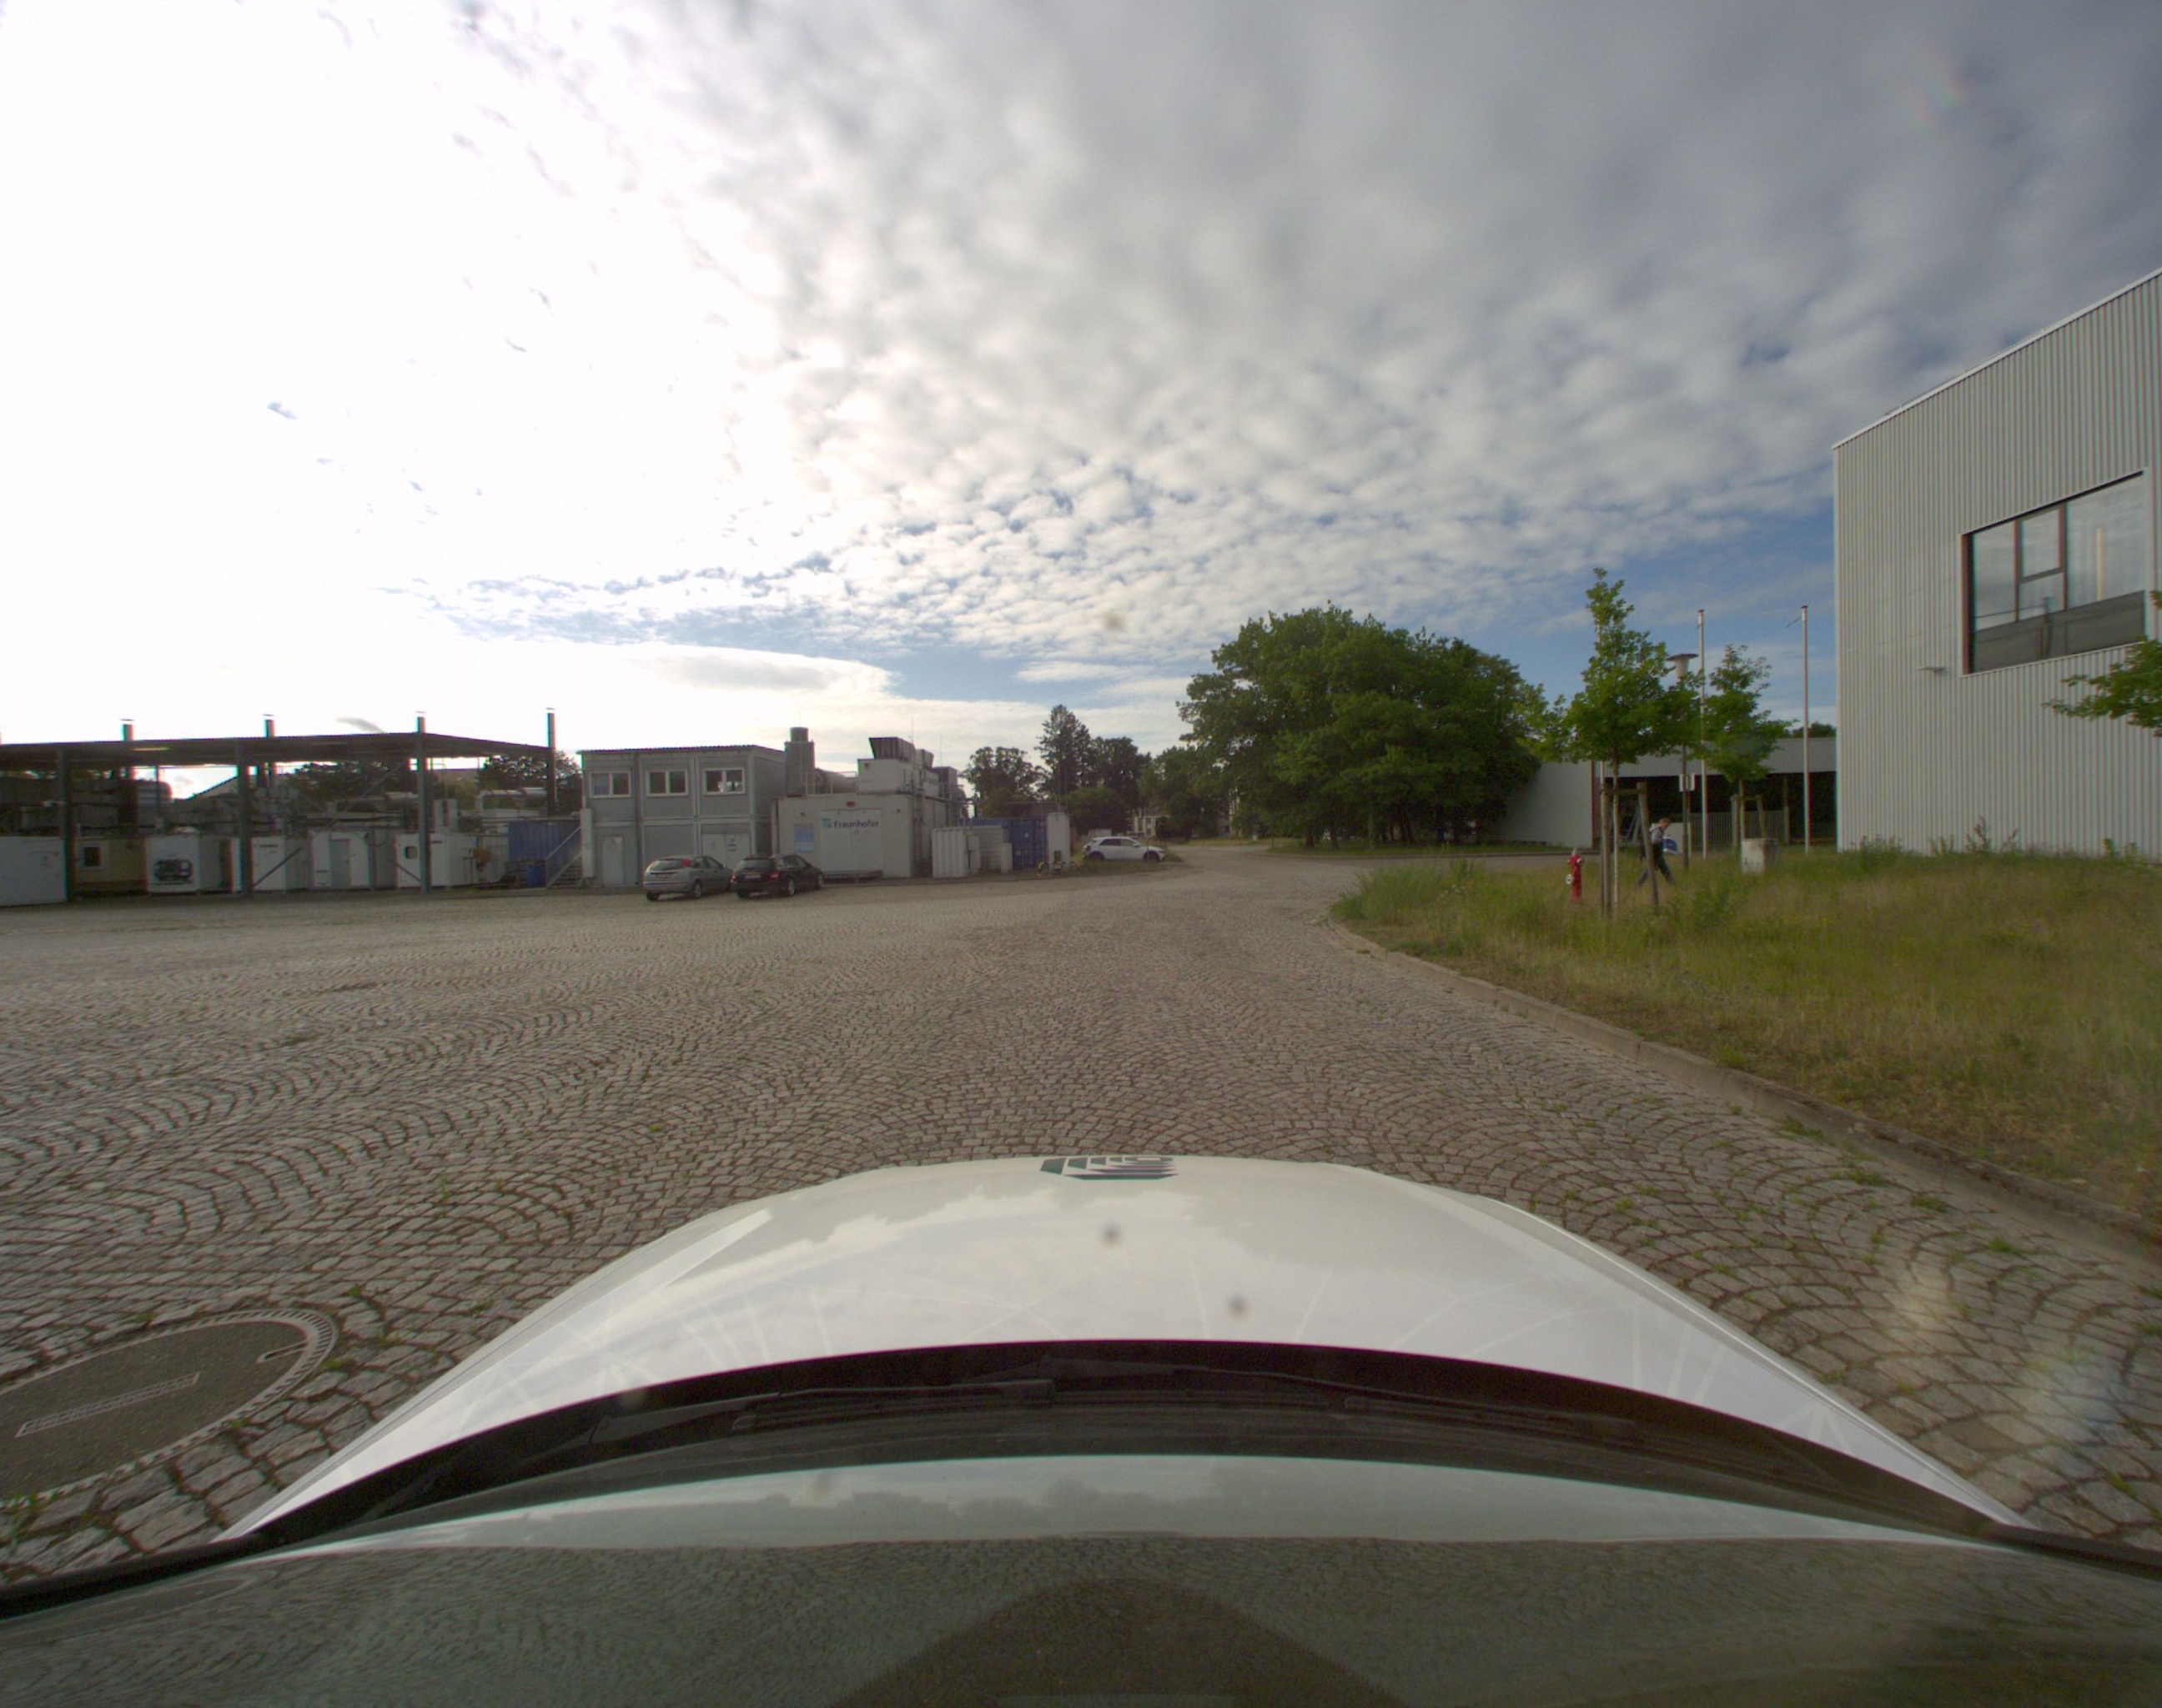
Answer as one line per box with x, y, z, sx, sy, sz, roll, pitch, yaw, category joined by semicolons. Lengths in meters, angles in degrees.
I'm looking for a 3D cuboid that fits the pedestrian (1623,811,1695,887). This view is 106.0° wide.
12.346;-0.107;17.431;1.065;1.556;1.081;-2;1;26;pedestrian

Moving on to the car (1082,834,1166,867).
2.413;-0.209;45.067;4.513;1.599;2.003;-2;1;4;car

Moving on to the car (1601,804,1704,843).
32.836;-1.704;47.018;2.233;2.013;5.338;-2;1;1;car

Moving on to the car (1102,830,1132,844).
6.456;-3.107;146.614;5.151;2.337;2.001;-2;1;1;car

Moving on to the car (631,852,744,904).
-13.691;0.775;28.628;1.900;1.475;4.047;-2;2;0;car

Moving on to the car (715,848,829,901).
-10.596;0.626;28.362;2.028;1.453;4.533;-2;3;2;car

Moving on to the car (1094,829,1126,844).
4.903;-2.953;137.087;5.151;2.337;2.001;-2;1;1;car
